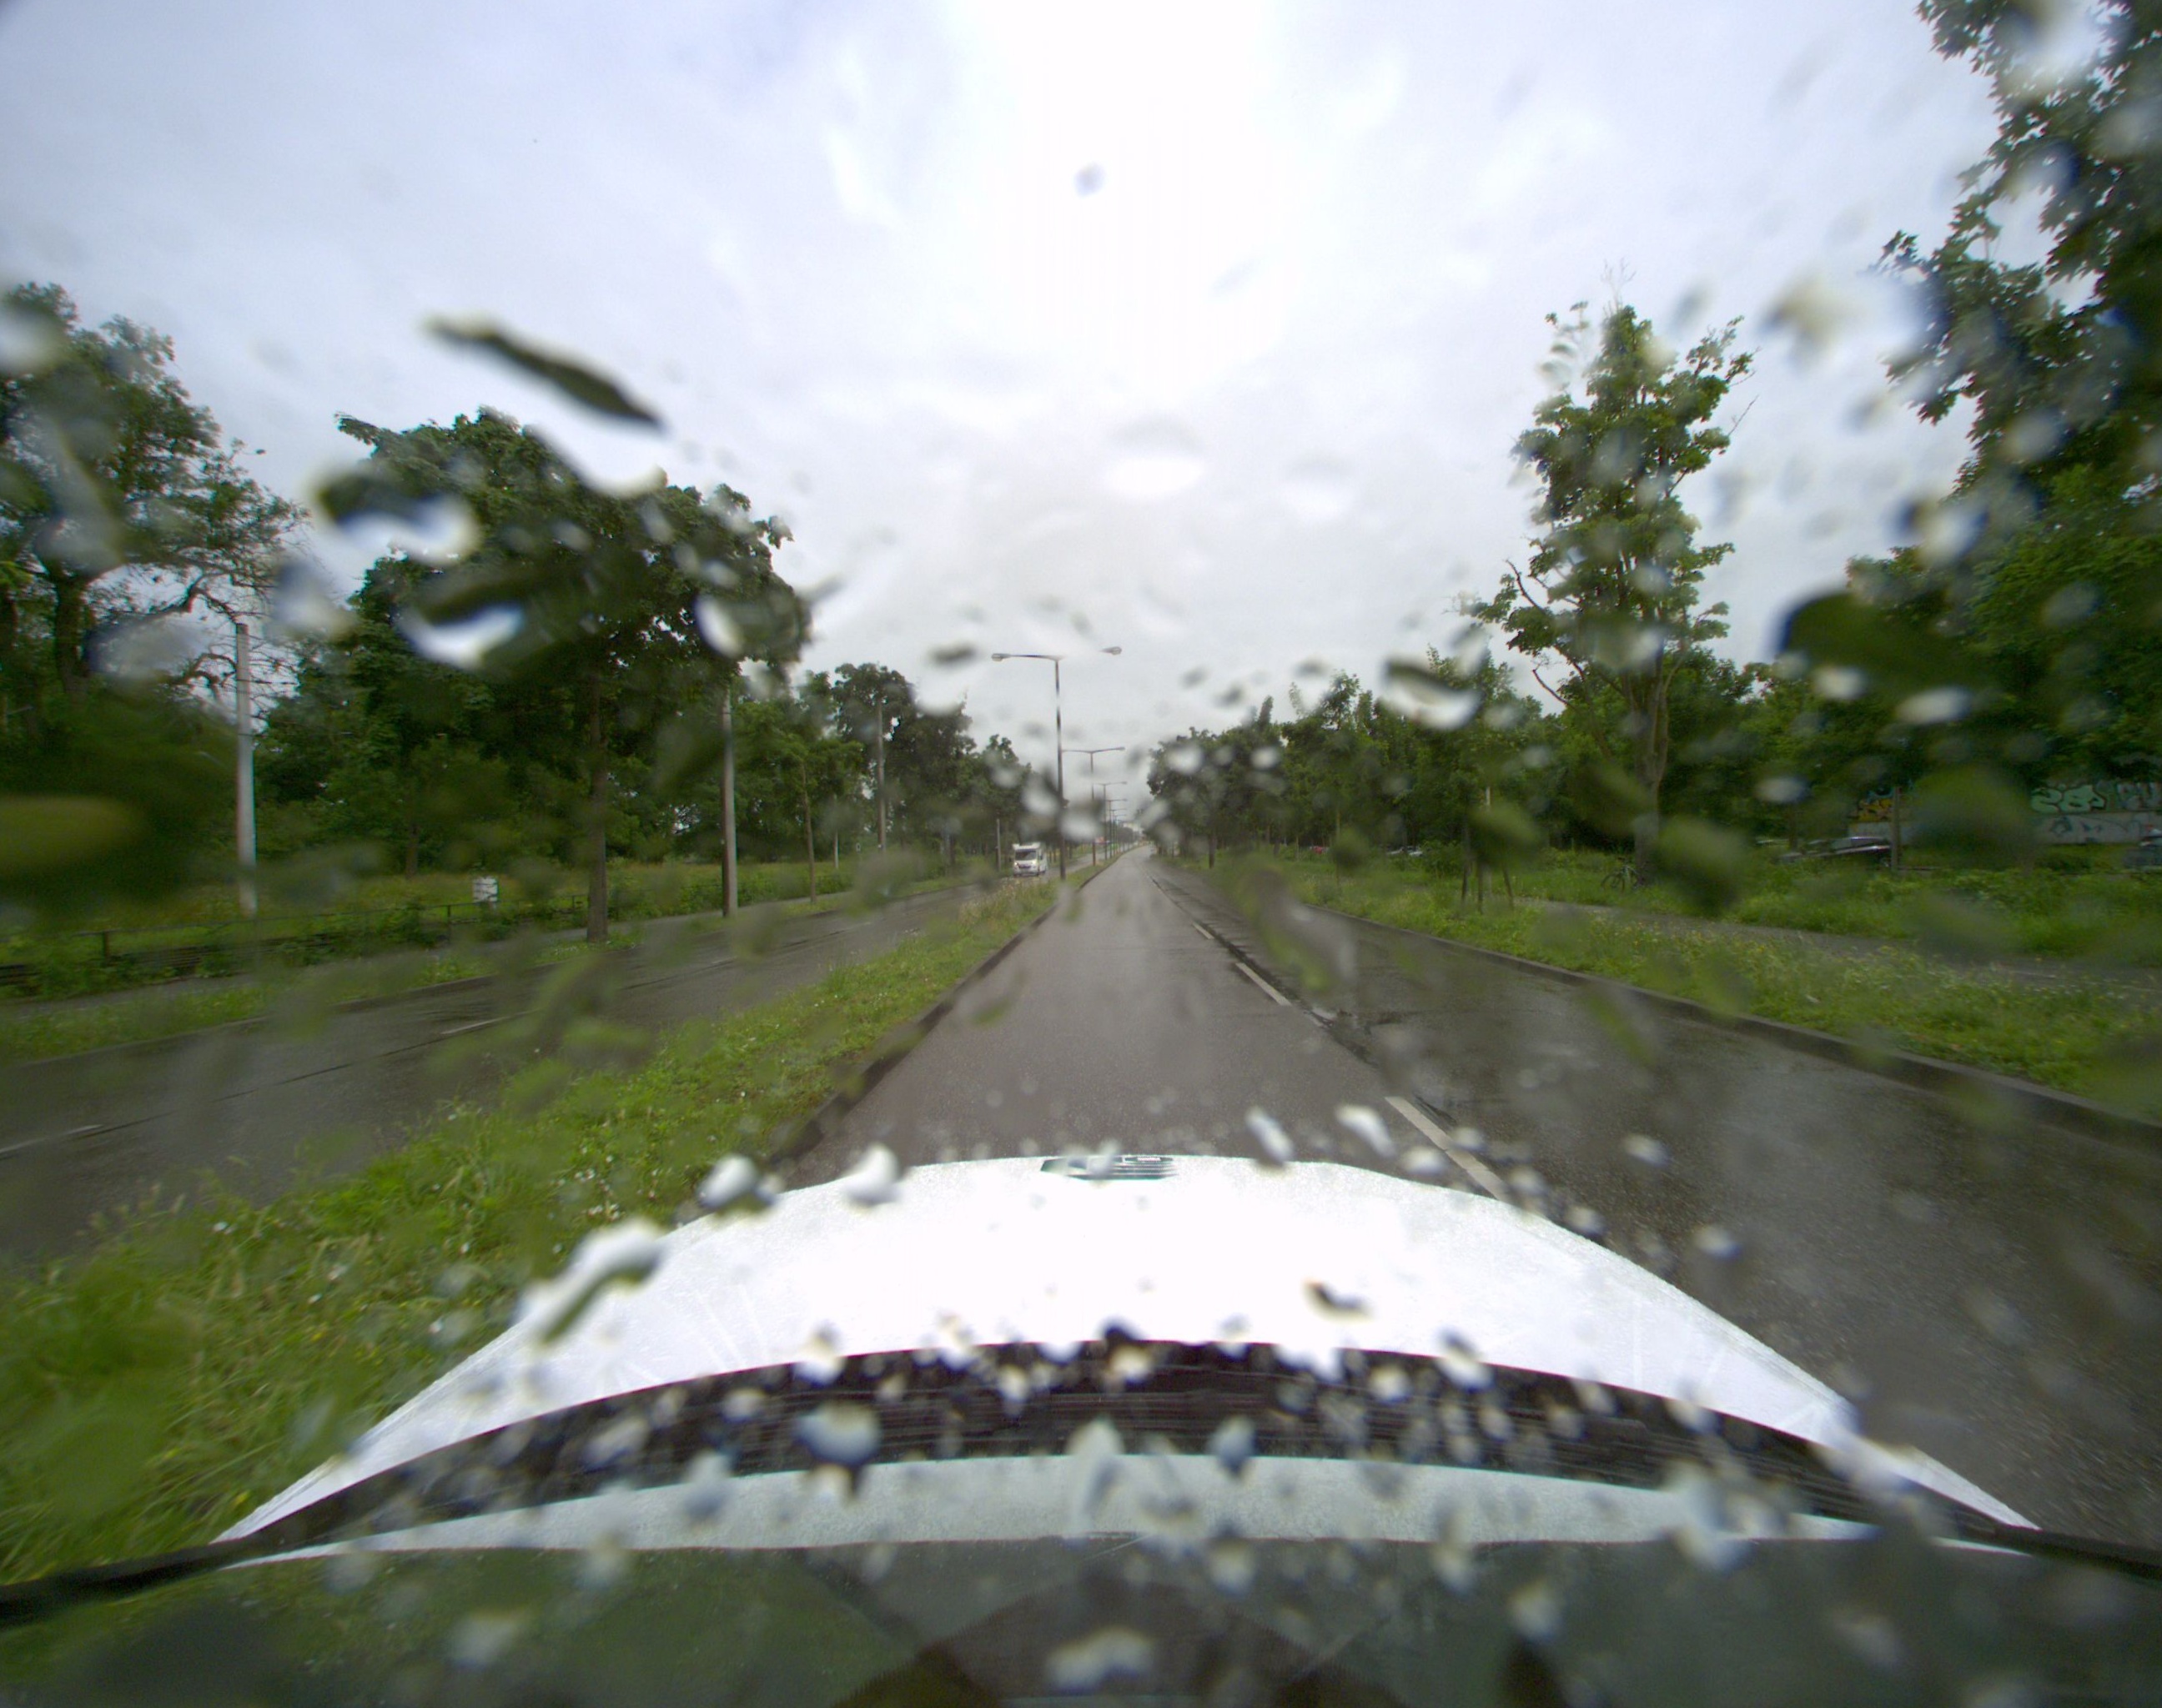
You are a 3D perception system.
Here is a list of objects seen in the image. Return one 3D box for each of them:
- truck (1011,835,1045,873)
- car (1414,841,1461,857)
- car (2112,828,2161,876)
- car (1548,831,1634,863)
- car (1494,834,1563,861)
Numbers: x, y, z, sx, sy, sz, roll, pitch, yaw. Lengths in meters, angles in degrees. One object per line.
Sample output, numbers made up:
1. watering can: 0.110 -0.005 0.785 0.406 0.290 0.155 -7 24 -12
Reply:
1. truck: -4.278 0.005 65.982 2.130 2.843 5.075 -3 -1 1
2. car: 35.924 -0.499 82.141 3.964 1.640 1.811 0 0 8
3. car: 32.056 -0.045 22.751 4.387 1.334 1.836 0 0 -3
4. car: 30.363 -0.406 48.584 3.938 1.820 1.898 0 0 3
5. car: 31.783 -0.447 57.914 3.938 1.820 1.898 0 0 3
